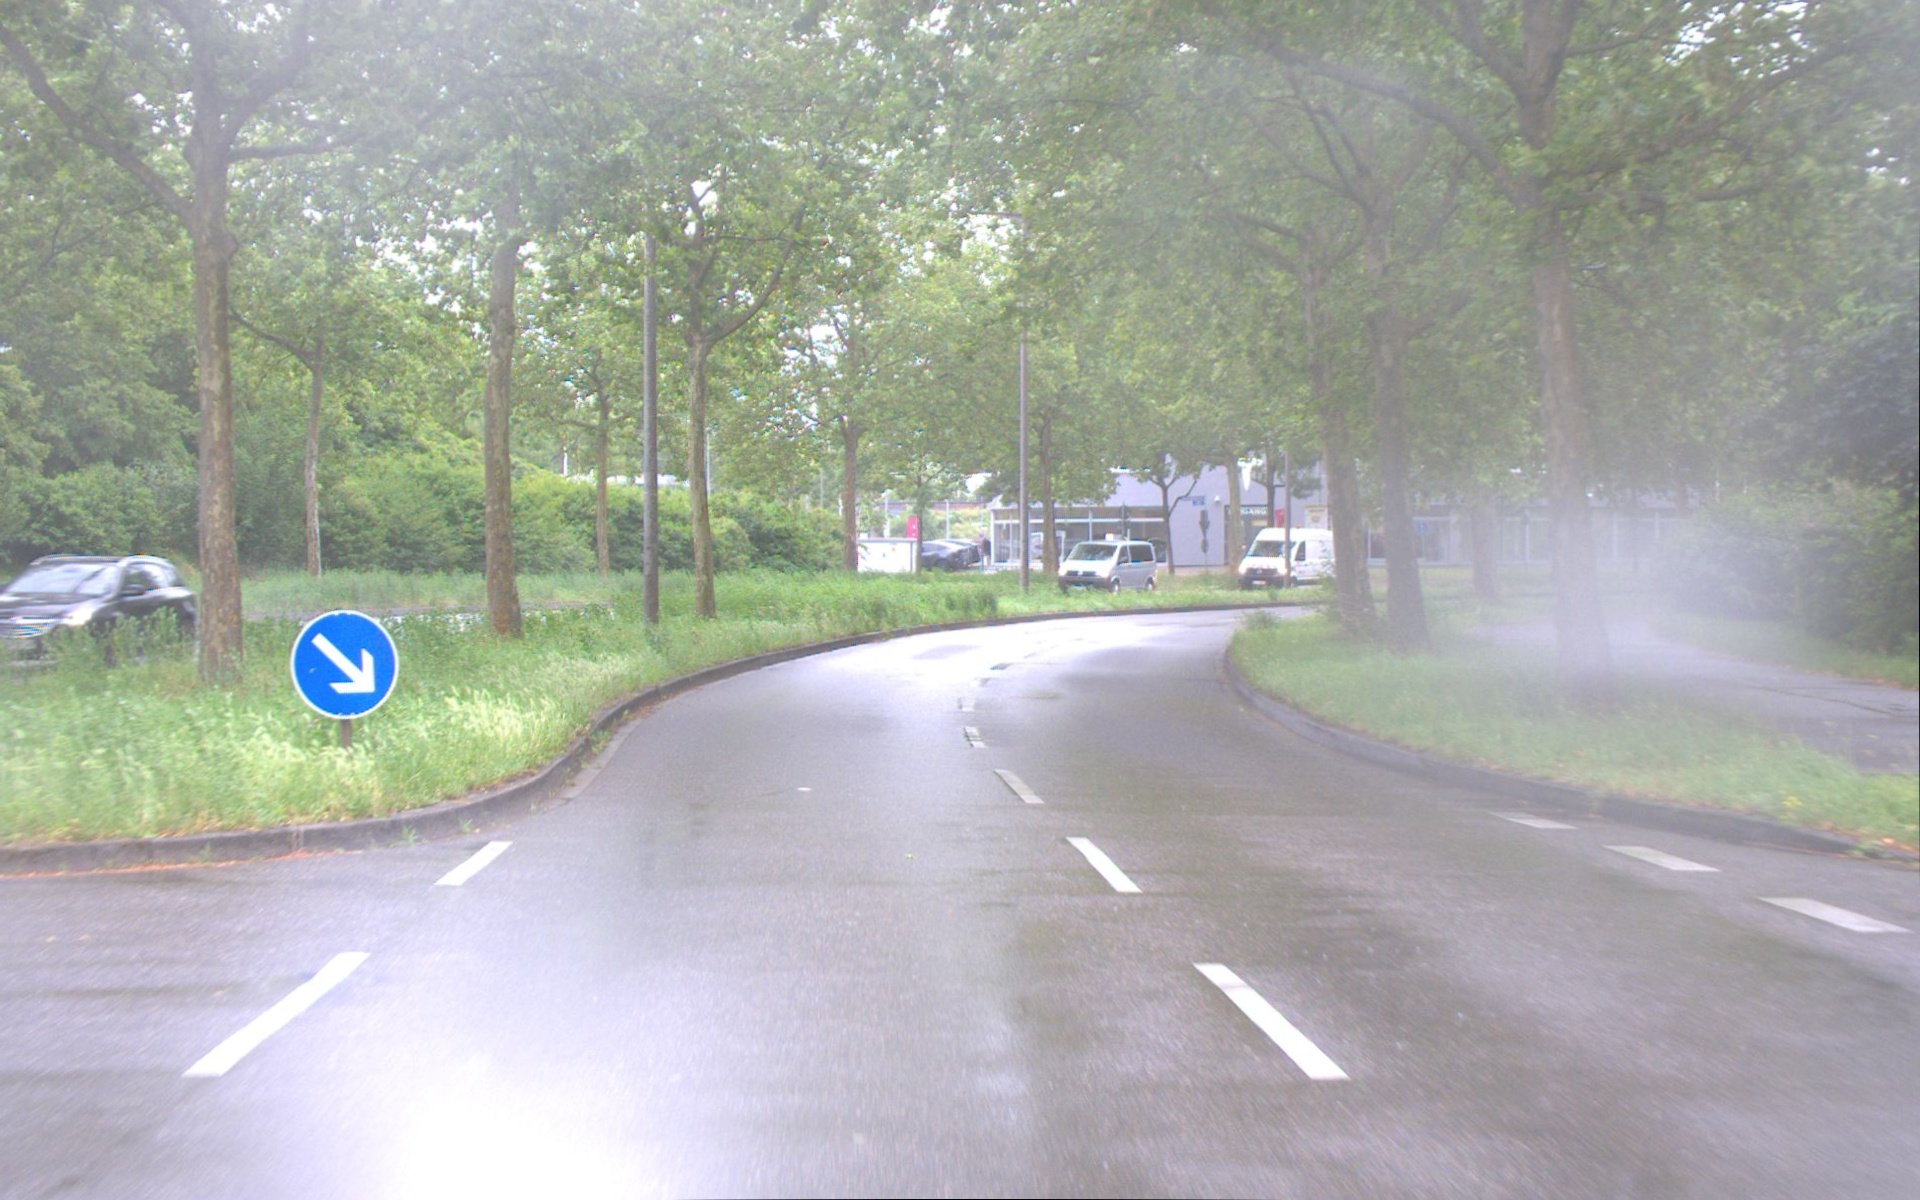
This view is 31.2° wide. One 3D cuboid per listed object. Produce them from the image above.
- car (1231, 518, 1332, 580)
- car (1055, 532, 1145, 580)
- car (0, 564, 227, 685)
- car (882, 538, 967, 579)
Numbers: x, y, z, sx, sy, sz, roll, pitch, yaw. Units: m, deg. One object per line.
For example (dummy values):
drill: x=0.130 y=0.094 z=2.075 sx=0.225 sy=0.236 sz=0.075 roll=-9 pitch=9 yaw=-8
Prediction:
car: x=12.107 y=-1.927 z=129.151 sx=2.285 sy=2.264 sz=5.962 roll=0 pitch=1 yaw=21
car: x=4.665 y=-1.461 z=113.846 sx=1.973 sy=1.558 sz=4.727 roll=0 pitch=1 yaw=16
car: x=-11.398 y=0.278 z=44.602 sx=2.004 sy=1.447 sz=4.990 roll=0 pitch=1 yaw=9
car: x=-1.795 y=-2.078 z=172.616 sx=3.986 sy=2.007 sz=2.000 roll=0 pitch=-1 yaw=-9
